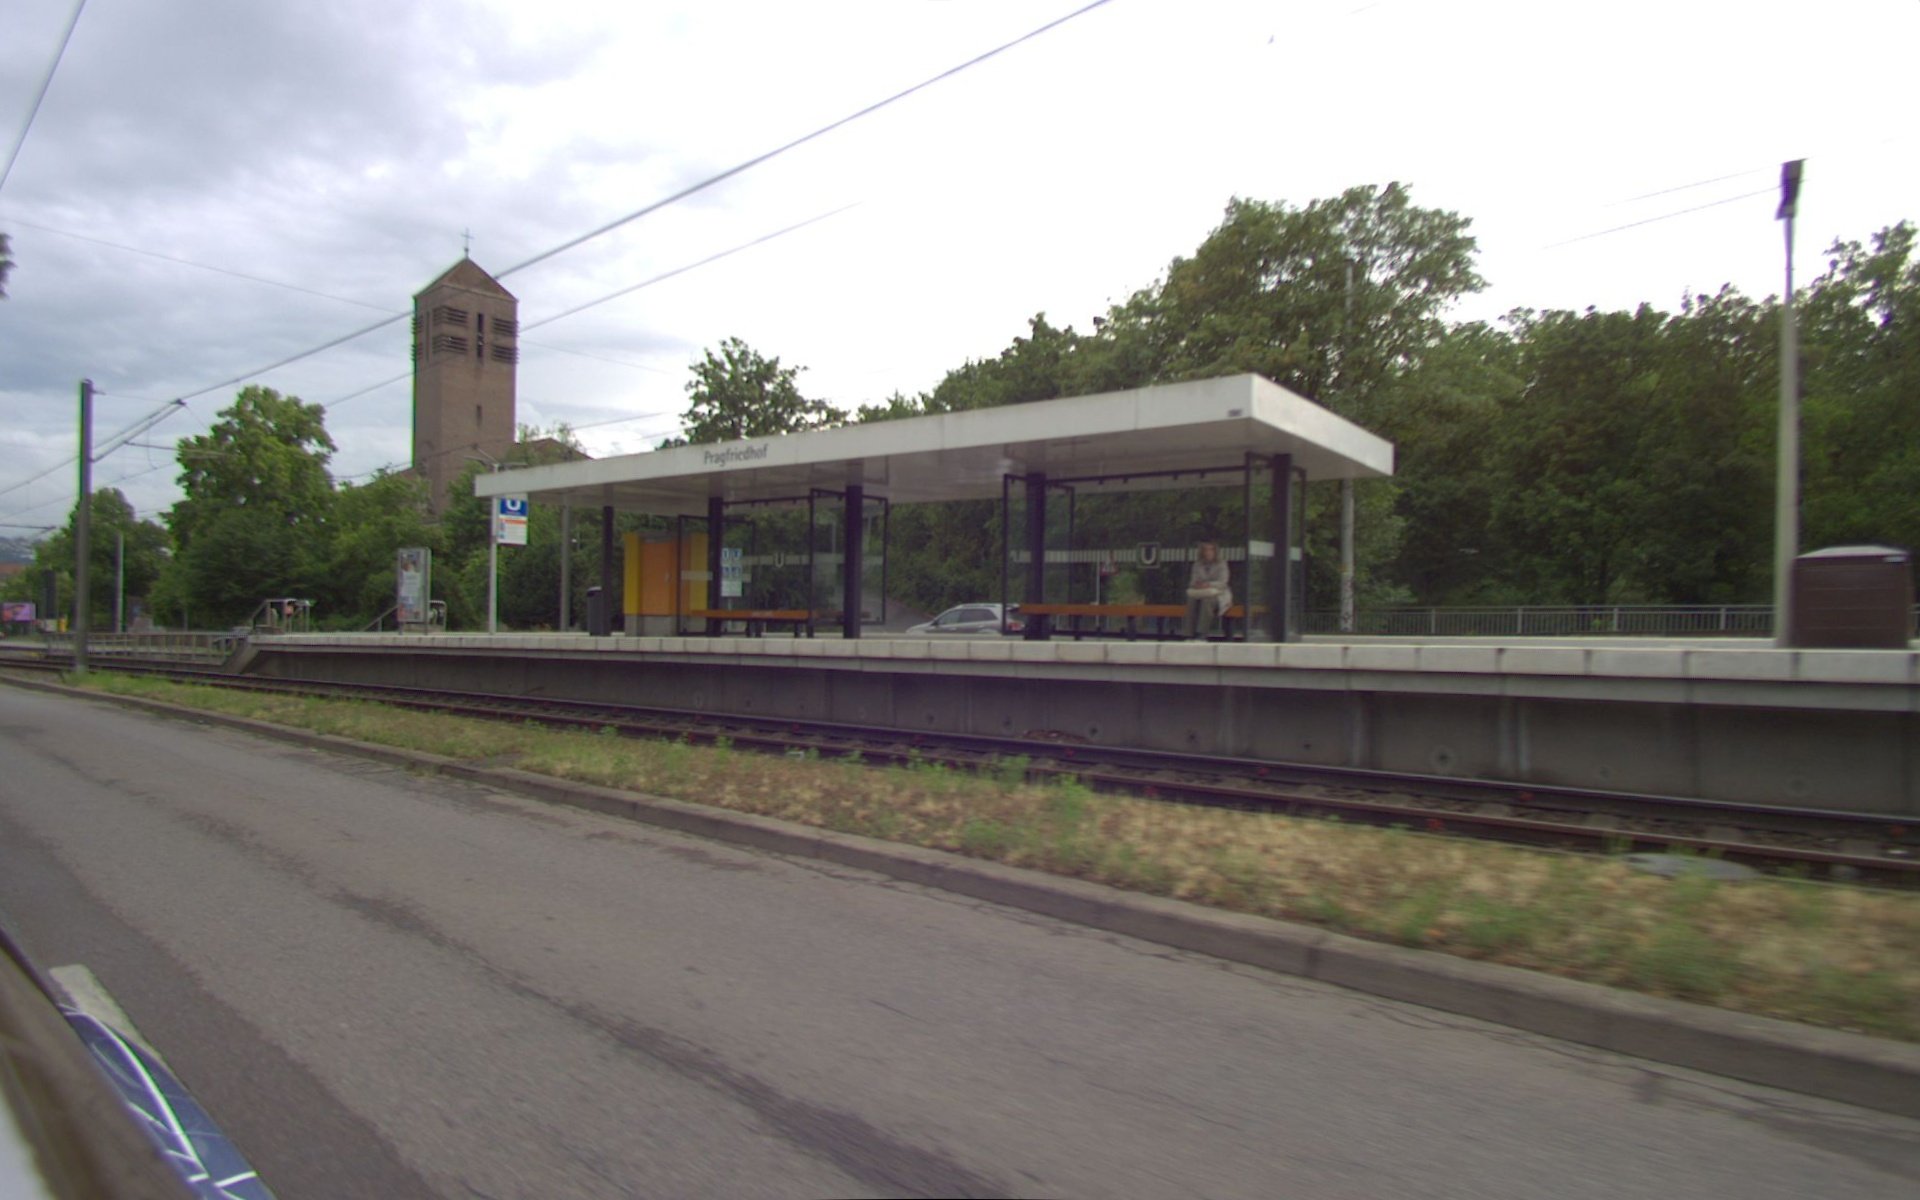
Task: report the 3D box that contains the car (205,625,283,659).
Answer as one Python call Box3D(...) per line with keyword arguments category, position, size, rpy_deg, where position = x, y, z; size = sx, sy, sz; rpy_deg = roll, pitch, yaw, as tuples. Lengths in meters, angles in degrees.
Box3D(category="car", position=(-37.119, 2.141, 52.433), size=(4.509, 1.636, 1.975), rpy_deg=(-1, -1, 36))

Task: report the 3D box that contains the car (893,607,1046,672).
Box3D(category="car", position=(0.240, 1.178, 31.374), size=(4.513, 1.890, 1.974), rpy_deg=(-1, -1, 39))

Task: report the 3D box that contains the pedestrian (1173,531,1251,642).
Box3D(category="pedestrian", position=(2.926, -0.147, 11.741), size=(0.619, 1.235, 0.703), rpy_deg=(-1, -1, 40))
